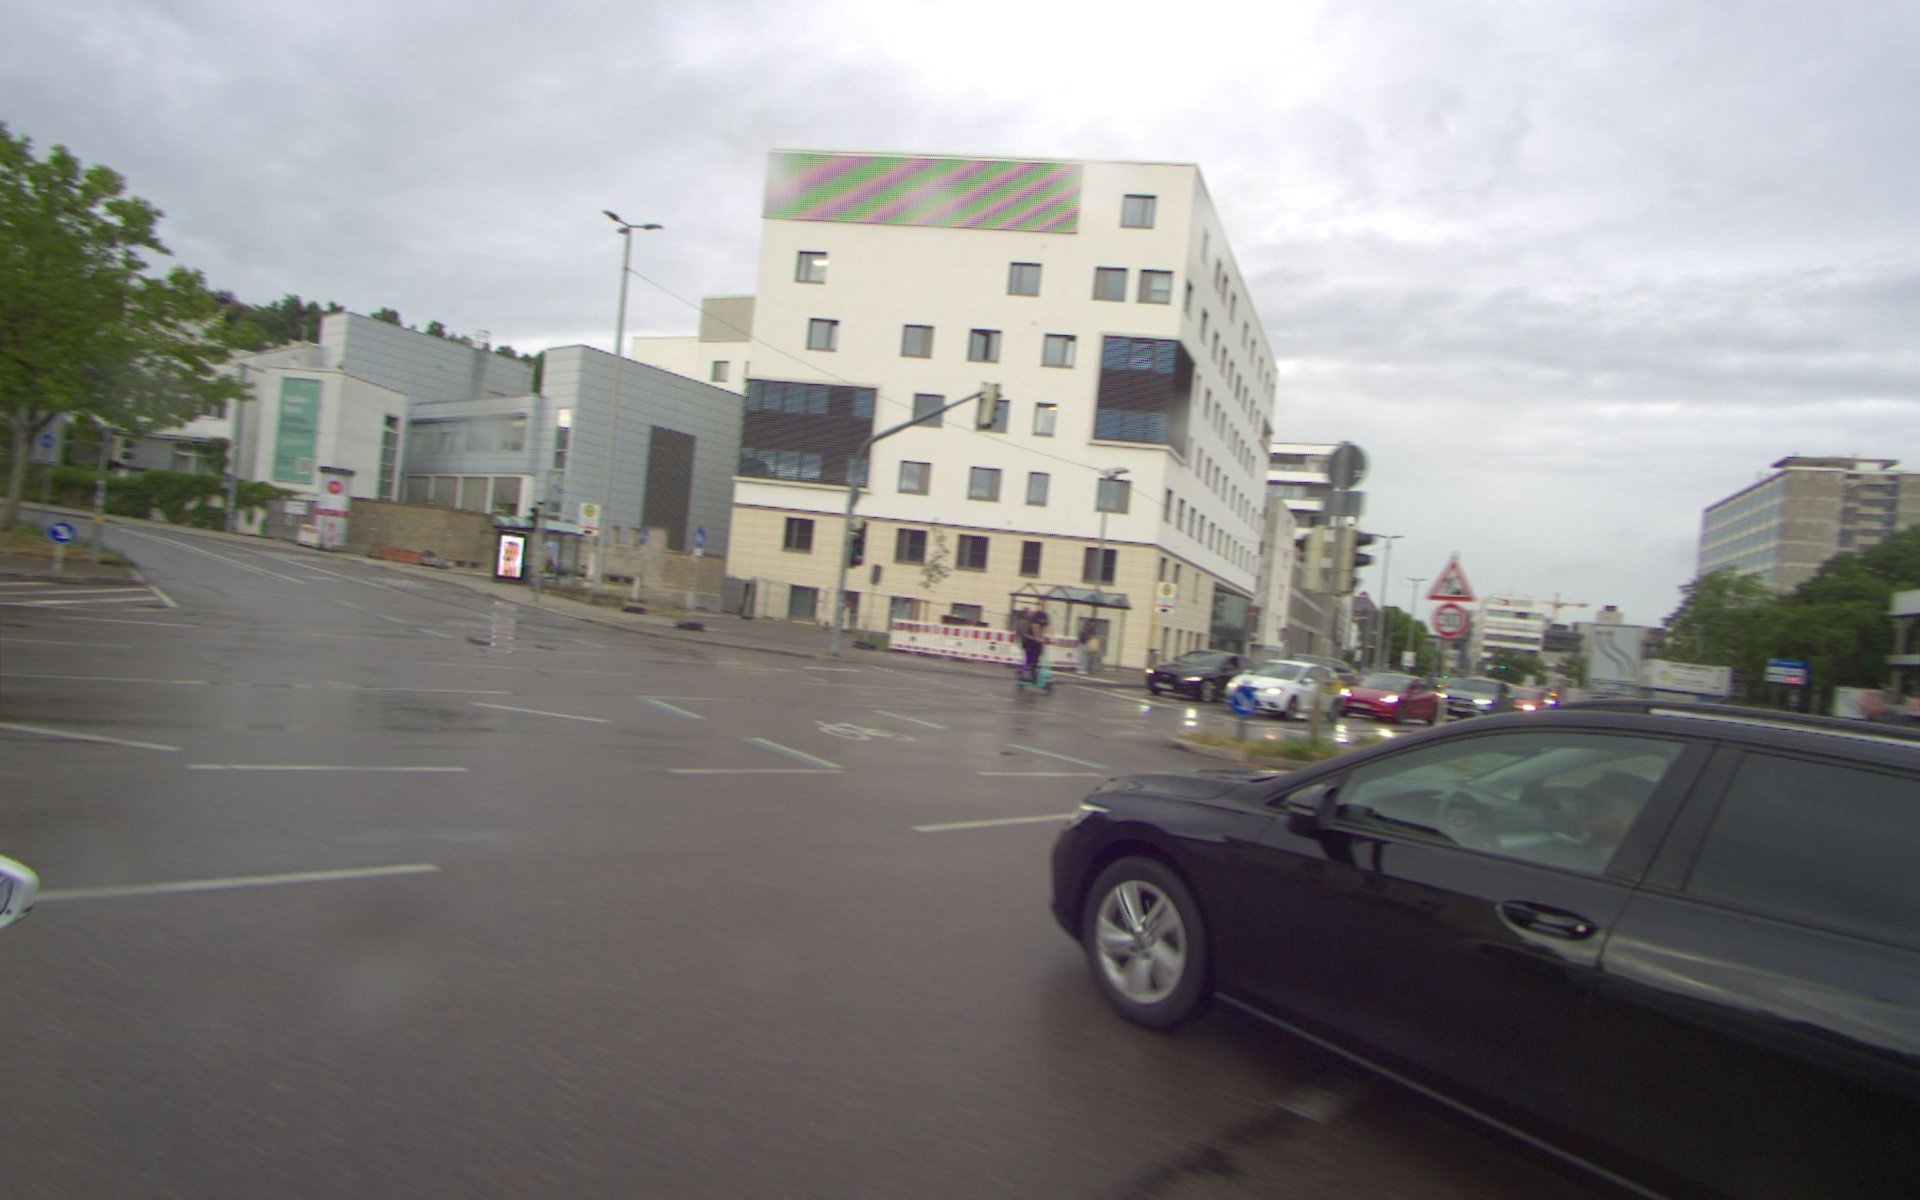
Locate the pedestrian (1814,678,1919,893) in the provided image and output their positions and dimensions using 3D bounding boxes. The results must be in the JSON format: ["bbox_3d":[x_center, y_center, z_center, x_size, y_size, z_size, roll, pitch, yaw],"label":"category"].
[{"bbox_3d":[9.105,1.796,9.872,1.020,1.913,0.821,8,-2,-41],"label":"pedestrian"}]

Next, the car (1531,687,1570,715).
[{"bbox_3d":[37.972,6.492,64.711,1.933,1.466,4.155,7,-2,30],"label":"car"}]

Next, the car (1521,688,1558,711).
[{"bbox_3d":[46.069,7.891,80.012,1.931,1.466,4.160,8,-2,24],"label":"car"}]

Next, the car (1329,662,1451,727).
[{"bbox_3d":[13.172,2.920,30.668,1.940,1.576,4.507,7,-1,42],"label":"car"}]

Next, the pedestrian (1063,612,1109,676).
[{"bbox_3d":[3.978,1.373,31.665,0.948,1.861,0.814,8,-2,-43],"label":"pedestrian"}]

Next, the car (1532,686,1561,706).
[{"bbox_3d":[61.929,10.092,106.225,1.765,1.726,4.687,7,0,22],"label":"car"}]

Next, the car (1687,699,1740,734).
[{"bbox_3d":[52.077,8.002,69.608,1.765,1.931,4.308,7,0,23],"label":"car"}]

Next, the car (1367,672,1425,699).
[{"bbox_3d":[36.242,7.092,83.703,1.943,1.575,4.039,9,-2,-25],"label":"car"}]

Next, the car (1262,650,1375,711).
[{"bbox_3d":[12.247,2.772,34.253,1.973,1.684,4.367,7,-1,42],"label":"car"}]

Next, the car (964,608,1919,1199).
[{"bbox_3d":[2.073,1.031,3.270,1.661,1.484,4.467,7,0,-36],"label":"car"}]

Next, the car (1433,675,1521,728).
[{"bbox_3d":[18.798,3.689,36.476,1.938,1.555,4.144,7,-1,38],"label":"car"}]

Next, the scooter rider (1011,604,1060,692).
[{"bbox_3d":[1.743,1.112,23.218,0.622,1.905,0.723,6,-2,38],"label":"scooter rider"}]

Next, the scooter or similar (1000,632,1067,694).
[{"bbox_3d":[1.688,1.439,23.218,1.294,1.253,0.591,6,-2,37],"label":"scooter or similar"}]

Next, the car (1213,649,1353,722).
[{"bbox_3d":[8.356,2.222,25.844,1.774,1.461,3.980,7,-1,43],"label":"car"}]

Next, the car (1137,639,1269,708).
[{"bbox_3d":[6.944,2.104,28.558,1.774,1.460,3.982,7,-2,43],"label":"car"}]

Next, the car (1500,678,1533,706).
[{"bbox_3d":[41.205,6.843,74.491,1.933,1.720,4.156,7,-2,30],"label":"car"}]

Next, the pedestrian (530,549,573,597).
[{"bbox_3d":[-16.690,-1.104,41.095,1.250,1.739,1.008,8,-2,-33],"label":"pedestrian"}]

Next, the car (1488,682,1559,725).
[{"bbox_3d":[24.537,4.530,43.758,1.938,1.466,4.147,7,-2,38],"label":"car"}]

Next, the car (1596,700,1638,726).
[{"bbox_3d":[57.942,9.972,88.793,1.963,1.830,4.788,8,-1,22],"label":"car"}]

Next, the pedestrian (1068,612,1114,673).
[{"bbox_3d":[4.469,1.444,34.355,0.992,1.957,0.950,8,-2,-22],"label":"pedestrian"}]
